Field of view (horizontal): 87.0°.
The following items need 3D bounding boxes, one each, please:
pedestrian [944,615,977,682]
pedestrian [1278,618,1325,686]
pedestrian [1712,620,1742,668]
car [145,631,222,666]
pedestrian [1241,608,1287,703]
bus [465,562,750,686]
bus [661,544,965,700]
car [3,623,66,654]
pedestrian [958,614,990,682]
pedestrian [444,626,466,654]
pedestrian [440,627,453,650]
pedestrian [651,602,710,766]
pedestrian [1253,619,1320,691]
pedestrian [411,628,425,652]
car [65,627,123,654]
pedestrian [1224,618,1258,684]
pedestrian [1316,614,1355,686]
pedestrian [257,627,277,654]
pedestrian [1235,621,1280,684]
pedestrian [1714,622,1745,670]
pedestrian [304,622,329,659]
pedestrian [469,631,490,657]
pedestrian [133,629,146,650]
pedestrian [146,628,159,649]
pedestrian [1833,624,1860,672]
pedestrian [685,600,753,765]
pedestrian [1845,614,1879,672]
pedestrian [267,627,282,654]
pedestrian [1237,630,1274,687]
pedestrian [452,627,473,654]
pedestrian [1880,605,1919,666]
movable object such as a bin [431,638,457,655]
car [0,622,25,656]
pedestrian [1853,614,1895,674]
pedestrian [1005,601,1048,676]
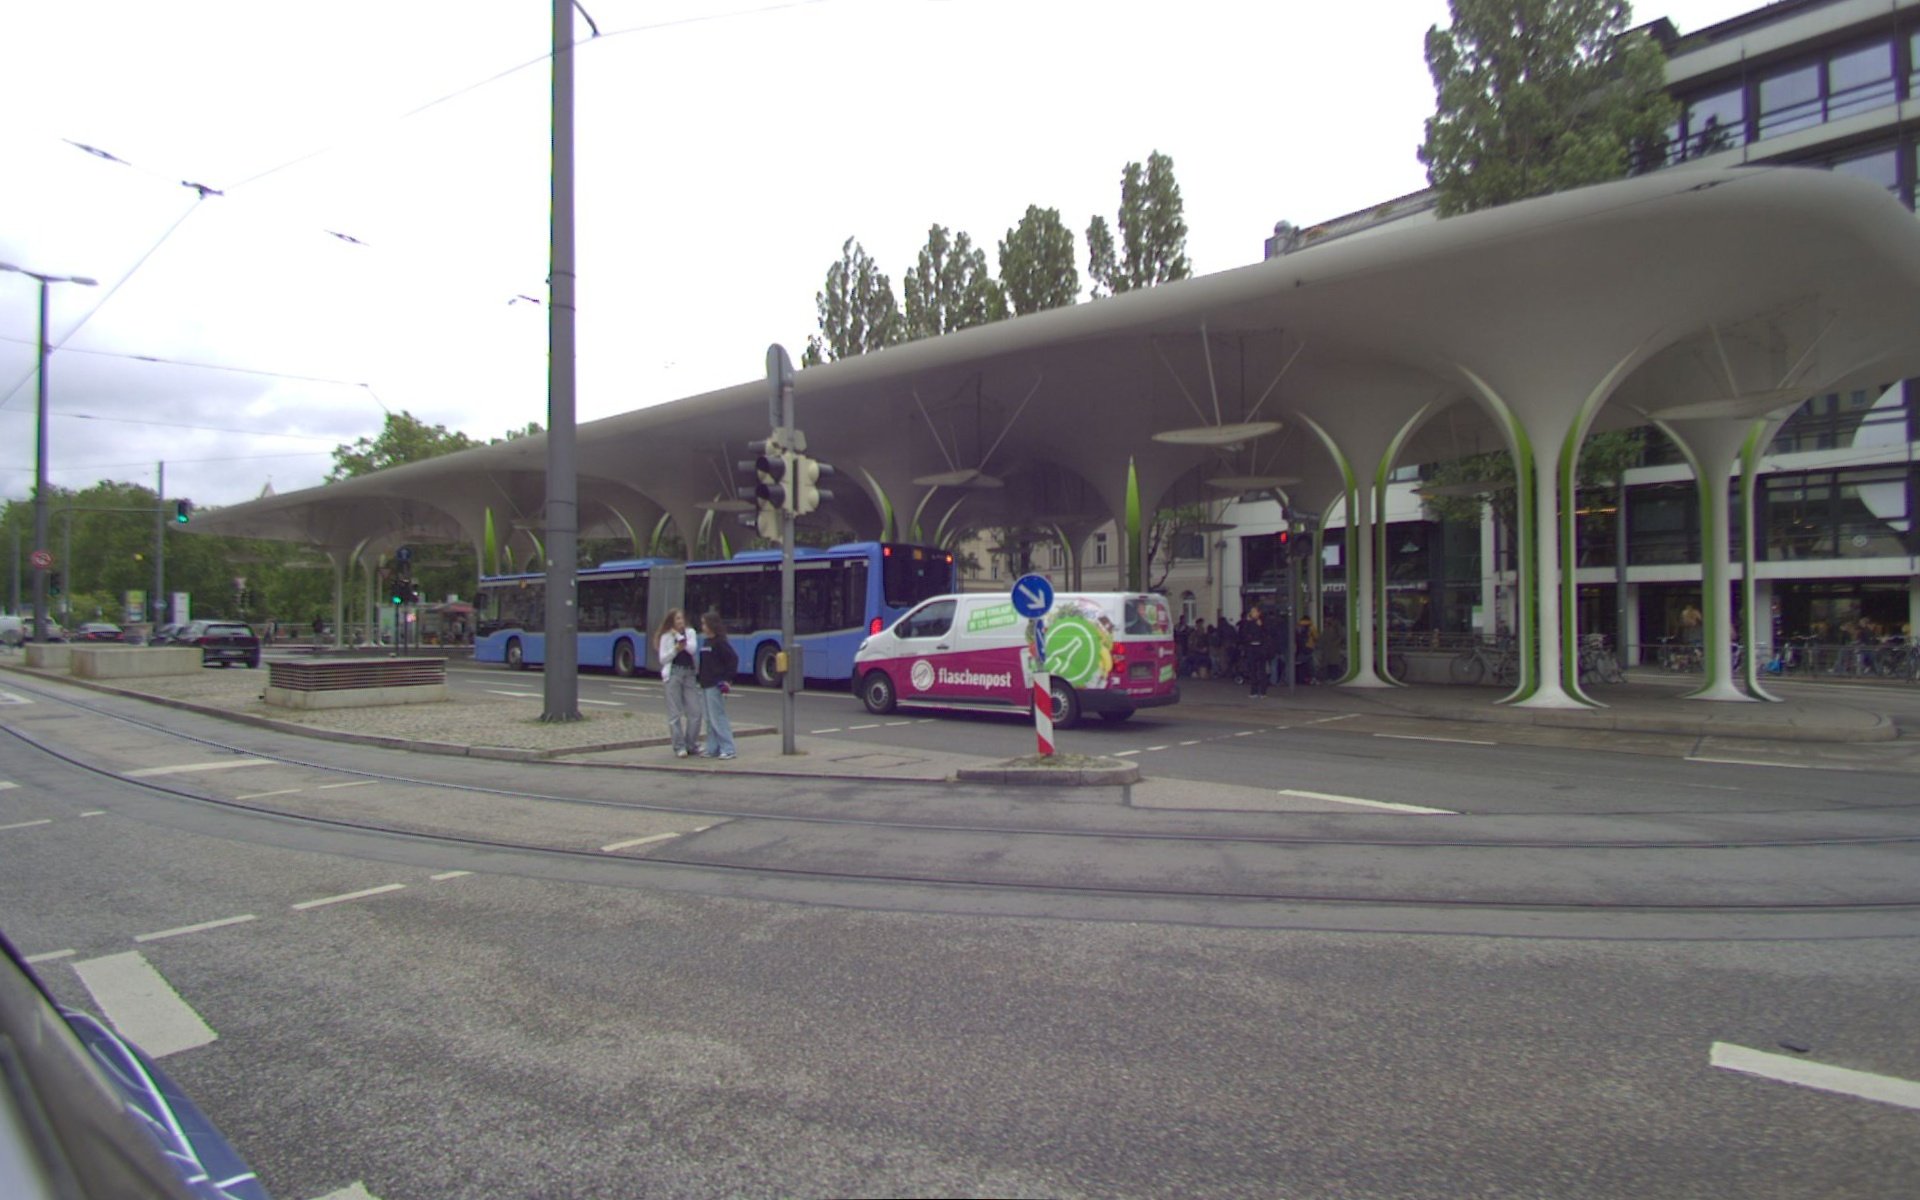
[{"bbox_3d":[0.016,1.103,23.167,0.471,1.516,0.606,-2,-2,39],"label":"pedestrian"},{"bbox_3d":[8.026,1.209,23.778,0.798,1.542,0.724,-2,-2,43],"label":"pedestrian"},{"bbox_3d":[26.356,1.508,34.765,0.585,1.604,0.675,1,-2,-39],"label":"pedestrian"},{"bbox_3d":[-33.303,2.031,43.373,4.228,1.406,1.661,-1,-2,39],"label":"car"},{"bbox_3d":[5.699,1.024,18.982,0.540,1.733,0.616,1,-2,-42],"label":"pedestrian"},{"bbox_3d":[-10.417,0.745,28.999,10.505,3.031,2.633,-2,-4,40],"label":"bus"},{"bbox_3d":[-3.575,0.555,23.149,7.509,3.031,2.632,-2,-4,41],"label":"bus"},{"bbox_3d":[-60.628,2.497,66.243,6.149,1.902,2.154,-2,-2,39],"label":"car"},{"bbox_3d":[0.332,1.125,23.843,0.533,1.584,0.556,-2,-2,41],"label":"pedestrian"},{"bbox_3d":[-29.137,2.313,58.412,0.831,1.622,0.745,-1,-1,13],"label":"pedestrian"},{"bbox_3d":[-35.945,2.695,70.830,0.728,1.612,0.799,1,-2,-34],"label":"pedestrian"},{"bbox_3d":[-2.854,0.840,10.359,0.514,1.631,0.464,0,-1,-5],"label":"pedestrian"},{"bbox_3d":[6.890,1.147,21.391,1.007,1.464,0.857,0,-2,-20],"label":"pedestrian"},{"bbox_3d":[-37.508,2.755,70.048,0.728,1.612,0.799,1,-2,-34],"label":"pedestrian"},{"bbox_3d":[-47.235,2.192,55.192,4.609,1.389,1.656,-1,-1,40],"label":"car"},{"bbox_3d":[6.959,1.257,25.080,0.655,1.595,0.499,0,-2,-7],"label":"pedestrian"},{"bbox_3d":[8.608,1.136,23.220,0.624,1.623,0.589,-2,-2,45],"label":"pedestrian"},{"bbox_3d":[-42.191,2.453,61.606,0.737,1.641,0.734,-1,-2,20],"label":"pedestrian"},{"bbox_3d":[7.153,1.255,24.311,0.860,1.469,0.551,0,-2,-7],"label":"pedestrian"},{"bbox_3d":[25.847,1.530,33.989,0.585,1.604,0.675,1,-2,-39],"label":"pedestrian"},{"bbox_3d":[-32.239,2.038,50.716,0.801,1.853,0.664,-1,-1,8],"label":"pedestrian"},{"bbox_3d":[-23.403,2.138,49.250,0.799,1.239,1.274,0,-2,-31],"label":"pedestrian"},{"bbox_3d":[-61.935,2.966,76.409,0.588,1.570,0.624,-2,-3,40],"label":"pedestrian"},{"bbox_3d":[-61.556,2.949,77.126,0.588,1.570,0.624,-2,-3,40],"label":"pedestrian"},{"bbox_3d":[28.711,1.550,32.765,0.597,1.546,0.499,-2,-2,45],"label":"pedestrian"},{"bbox_3d":[-2.450,0.827,10.324,0.551,1.631,0.486,-1,-1,7],"label":"pedestrian"},{"bbox_3d":[28.570,1.342,32.053,0.585,1.814,0.691,1,-2,-39],"label":"pedestrian"},{"bbox_3d":[-44.112,2.593,65.139,0.725,1.729,0.862,1,-2,-39],"label":"pedestrian"},{"bbox_3d":[6.594,1.297,22.607,0.612,1.245,0.532,-2,-2,41],"label":"pedestrian"},{"bbox_3d":[-33.238,2.728,67.625,0.957,1.776,1.018,-2,-2,42],"label":"pedestrian"},{"bbox_3d":[31.760,1.188,34.146,0.823,2.029,0.919,1,-2,-40],"label":"pedestrian"},{"bbox_3d":[-34.016,3.066,66.728,0.957,1.092,1.319,-2,-2,41],"label":"movable object such as a bin"},{"bbox_3d":[-55.646,2.236,58.413,4.213,1.869,1.768,-1,-3,39],"label":"car"},{"bbox_3d":[28.249,1.357,31.284,0.710,1.814,0.829,1,-2,-39],"label":"pedestrian"},{"bbox_3d":[1.661,0.957,25.290,0.793,1.831,0.707,1,-2,-34],"label":"pedestrian"}]
